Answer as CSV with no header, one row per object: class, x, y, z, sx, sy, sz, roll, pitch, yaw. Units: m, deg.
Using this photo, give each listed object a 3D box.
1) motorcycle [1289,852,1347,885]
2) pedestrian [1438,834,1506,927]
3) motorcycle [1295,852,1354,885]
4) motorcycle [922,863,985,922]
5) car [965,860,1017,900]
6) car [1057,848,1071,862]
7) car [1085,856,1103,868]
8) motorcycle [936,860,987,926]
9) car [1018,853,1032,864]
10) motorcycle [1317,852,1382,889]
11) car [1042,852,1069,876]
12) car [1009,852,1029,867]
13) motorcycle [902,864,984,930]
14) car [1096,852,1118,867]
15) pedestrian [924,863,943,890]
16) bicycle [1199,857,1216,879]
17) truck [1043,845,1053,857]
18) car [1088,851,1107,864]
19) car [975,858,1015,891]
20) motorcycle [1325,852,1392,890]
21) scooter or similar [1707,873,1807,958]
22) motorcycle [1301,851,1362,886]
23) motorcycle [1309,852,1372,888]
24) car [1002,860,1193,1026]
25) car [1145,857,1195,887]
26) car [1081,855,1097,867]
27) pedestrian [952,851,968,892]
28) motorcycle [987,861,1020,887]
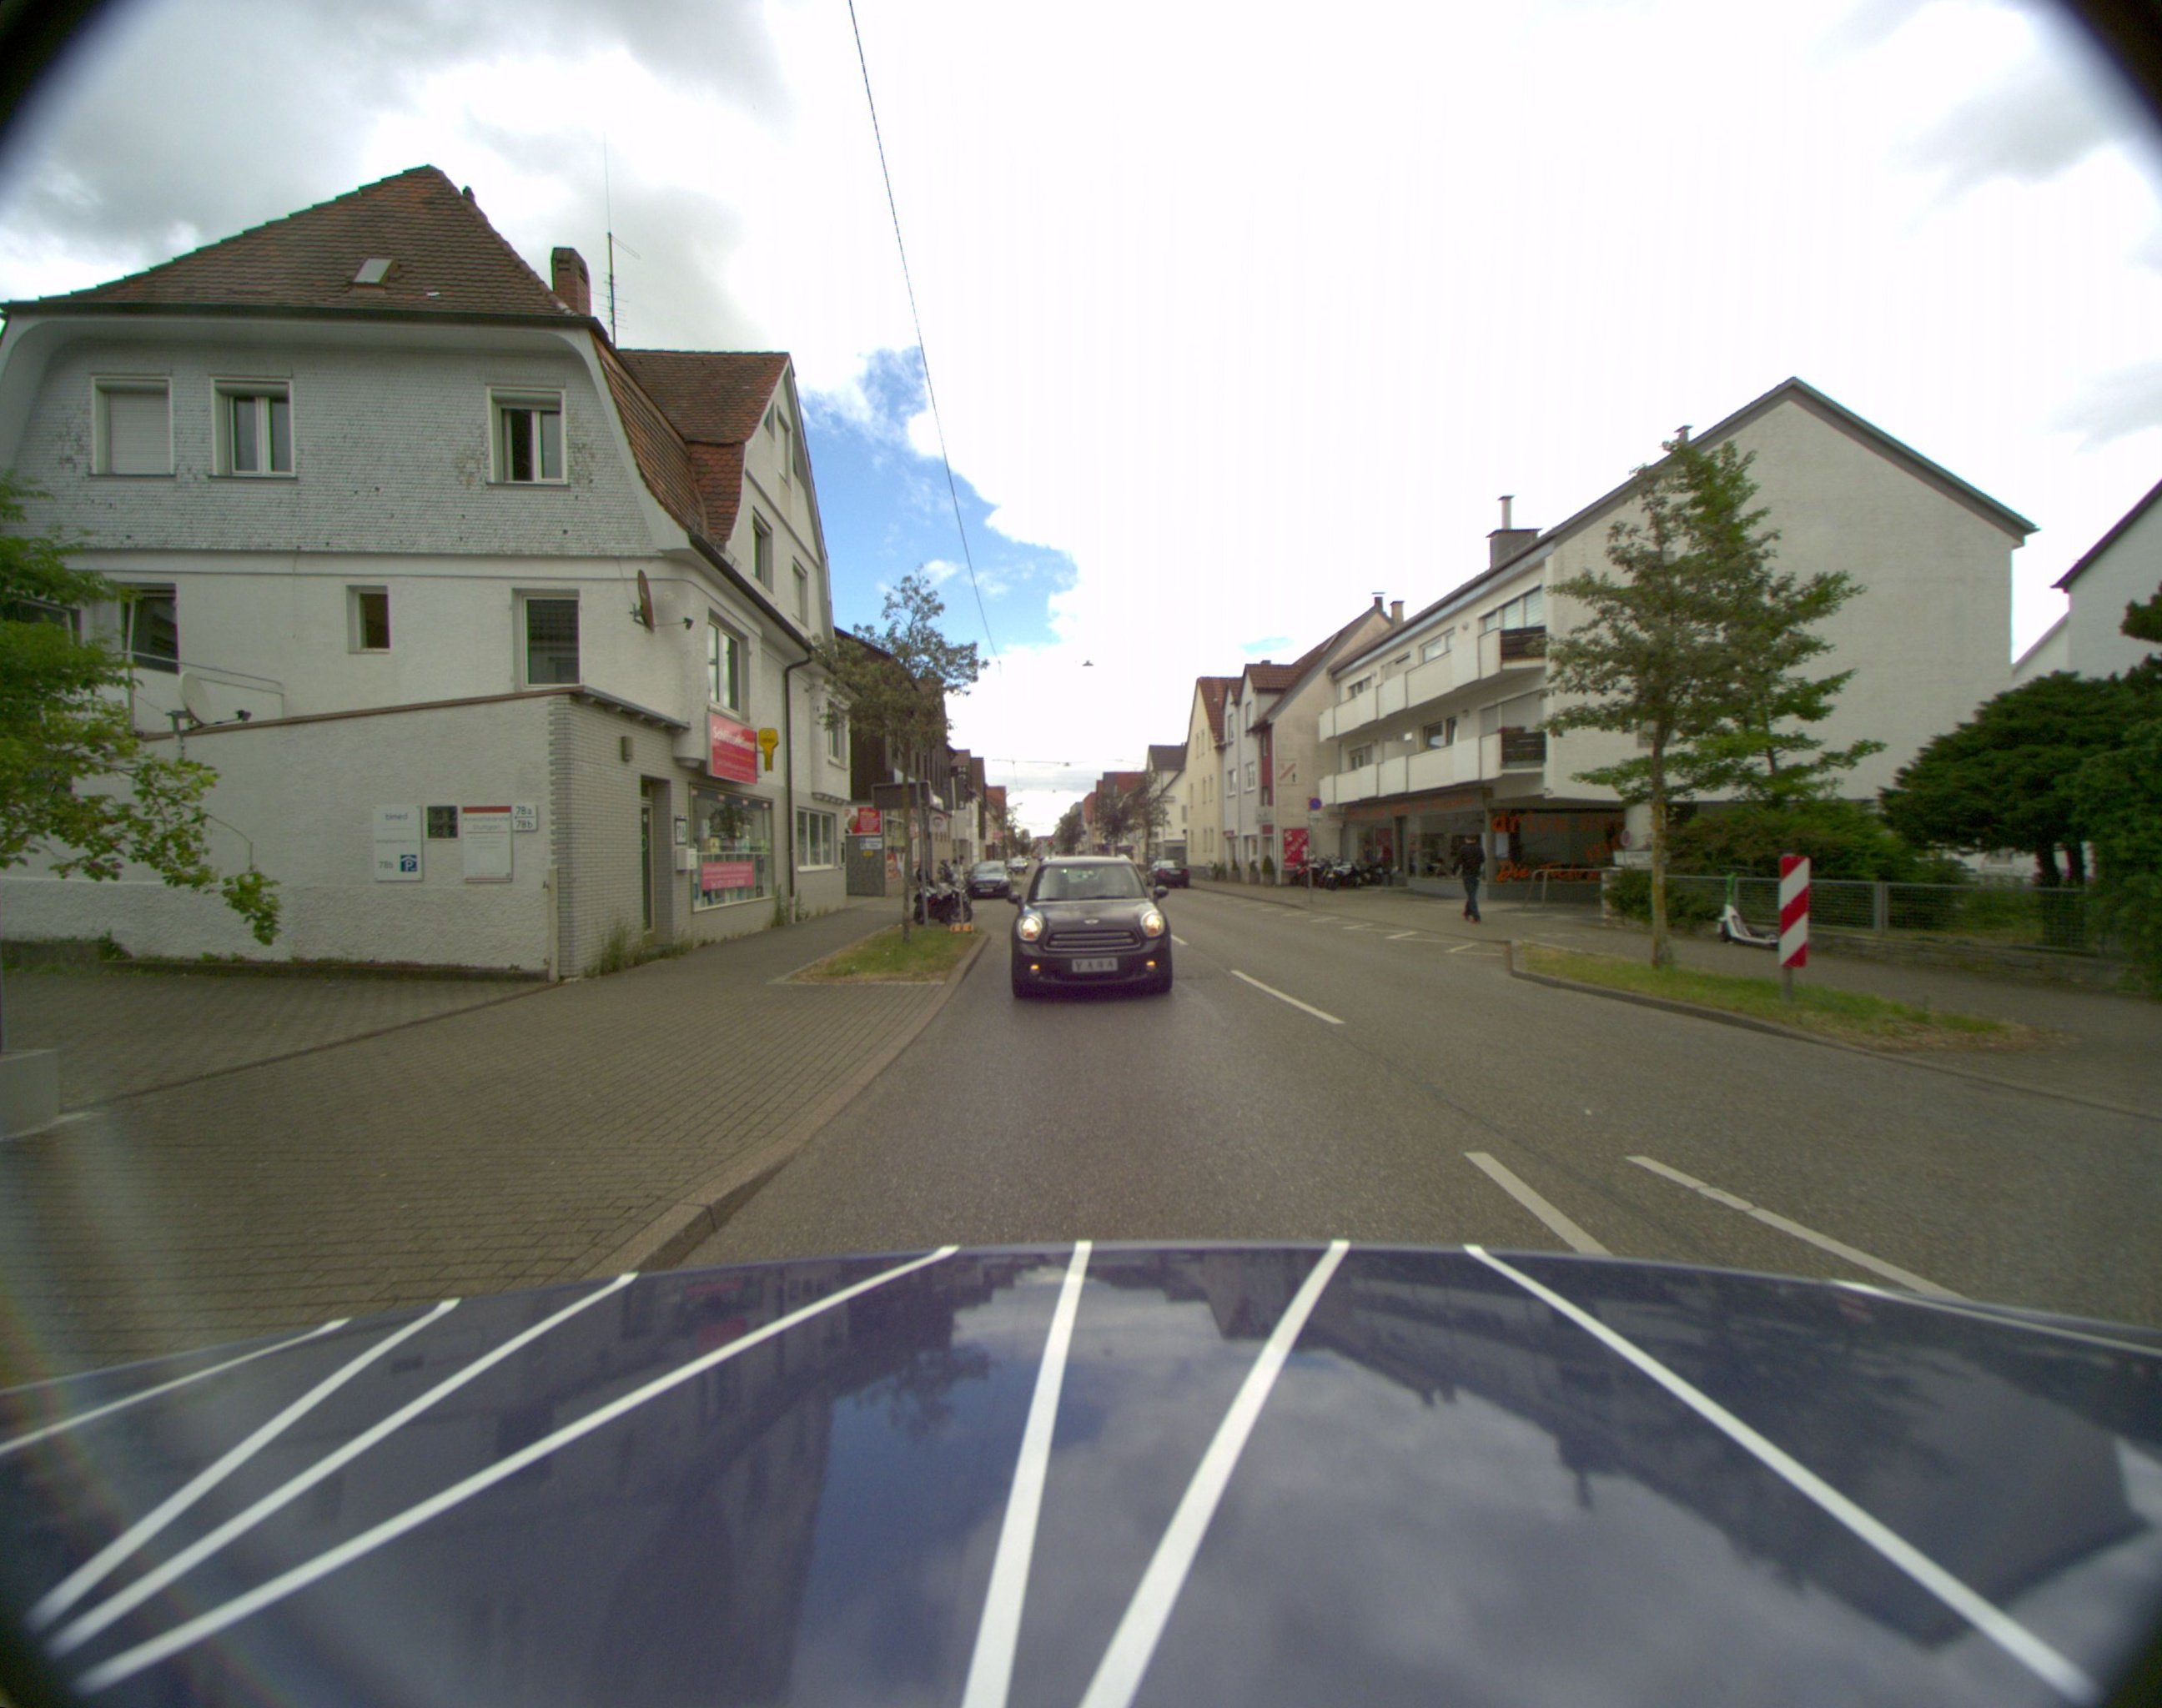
motorcycle,10.074,0.603,32.346,2.231,1.258,0.613,-3,1,-4
pedestrian,8.164,0.536,15.916,0.753,1.839,1.019,-4,1,-2
motorcycle,10.130,0.598,31.616,2.231,1.258,0.613,-3,1,-4
motorcycle,-3.436,1.010,20.798,0.648,1.432,2.472,-1,1,16
car,-3.583,1.004,30.891,1.830,1.400,4.563,-2,0,-4
car,-2.553,0.105,112.132,1.856,1.932,4.489,1,0,-4
car,1.469,0.923,89.911,1.716,1.389,3.898,-2,0,-4
motorcycle,-3.019,0.942,19.418,0.672,1.516,2.598,-2,1,4
car,-7.618,0.586,103.326,1.795,1.397,3.947,1,0,-3
motorcycle,10.308,0.621,29.174,2.231,1.258,0.613,-3,1,-4
car,-1.903,0.698,55.946,1.855,1.615,4.735,-2,0,-2
car,-5.922,0.476,73.052,1.795,1.356,3.947,1,0,-3
motorcycle,-3.147,0.924,17.097,0.777,1.373,2.237,-2,1,-40
car,2.551,0.557,74.645,1.716,1.389,3.898,-2,0,-4
pedestrian,-6.706,1.038,34.568,0.742,1.204,0.643,0,1,-3
bicycle,7.293,0.775,43.799,0.515,1.189,2.023,-2,1,-4
truck,-8.941,-0.743,206.104,2.800,3.020,8.248,-2,0,-2
car,1.780,0.385,85.324,1.716,1.389,3.898,-2,0,-4
car,-4.082,0.945,36.492,1.645,1.433,3.901,-2,0,-4
motorcycle,10.332,0.627,28.315,2.231,1.258,0.613,-3,1,-4
scooter or similar,9.602,0.846,10.833,0.340,1.105,1.179,-2,1,-2
motorcycle,10.169,0.583,30.869,2.231,1.258,0.699,-3,1,-4
motorcycle,10.244,0.617,30.022,2.231,1.258,0.613,-3,1,-4
car,-0.009,0.891,9.896,1.856,1.527,4.734,-2,0,-4
car,4.515,0.865,39.106,1.793,1.409,4.339,0,0,-4
car,0.995,0.895,95.893,1.716,1.389,3.898,-2,0,-4
pedestrian,-5.107,0.720,31.999,0.644,1.730,0.742,0,1,-8
motorcycle,-4.058,1.023,39.821,1.589,1.284,0.500,-2,1,-32
